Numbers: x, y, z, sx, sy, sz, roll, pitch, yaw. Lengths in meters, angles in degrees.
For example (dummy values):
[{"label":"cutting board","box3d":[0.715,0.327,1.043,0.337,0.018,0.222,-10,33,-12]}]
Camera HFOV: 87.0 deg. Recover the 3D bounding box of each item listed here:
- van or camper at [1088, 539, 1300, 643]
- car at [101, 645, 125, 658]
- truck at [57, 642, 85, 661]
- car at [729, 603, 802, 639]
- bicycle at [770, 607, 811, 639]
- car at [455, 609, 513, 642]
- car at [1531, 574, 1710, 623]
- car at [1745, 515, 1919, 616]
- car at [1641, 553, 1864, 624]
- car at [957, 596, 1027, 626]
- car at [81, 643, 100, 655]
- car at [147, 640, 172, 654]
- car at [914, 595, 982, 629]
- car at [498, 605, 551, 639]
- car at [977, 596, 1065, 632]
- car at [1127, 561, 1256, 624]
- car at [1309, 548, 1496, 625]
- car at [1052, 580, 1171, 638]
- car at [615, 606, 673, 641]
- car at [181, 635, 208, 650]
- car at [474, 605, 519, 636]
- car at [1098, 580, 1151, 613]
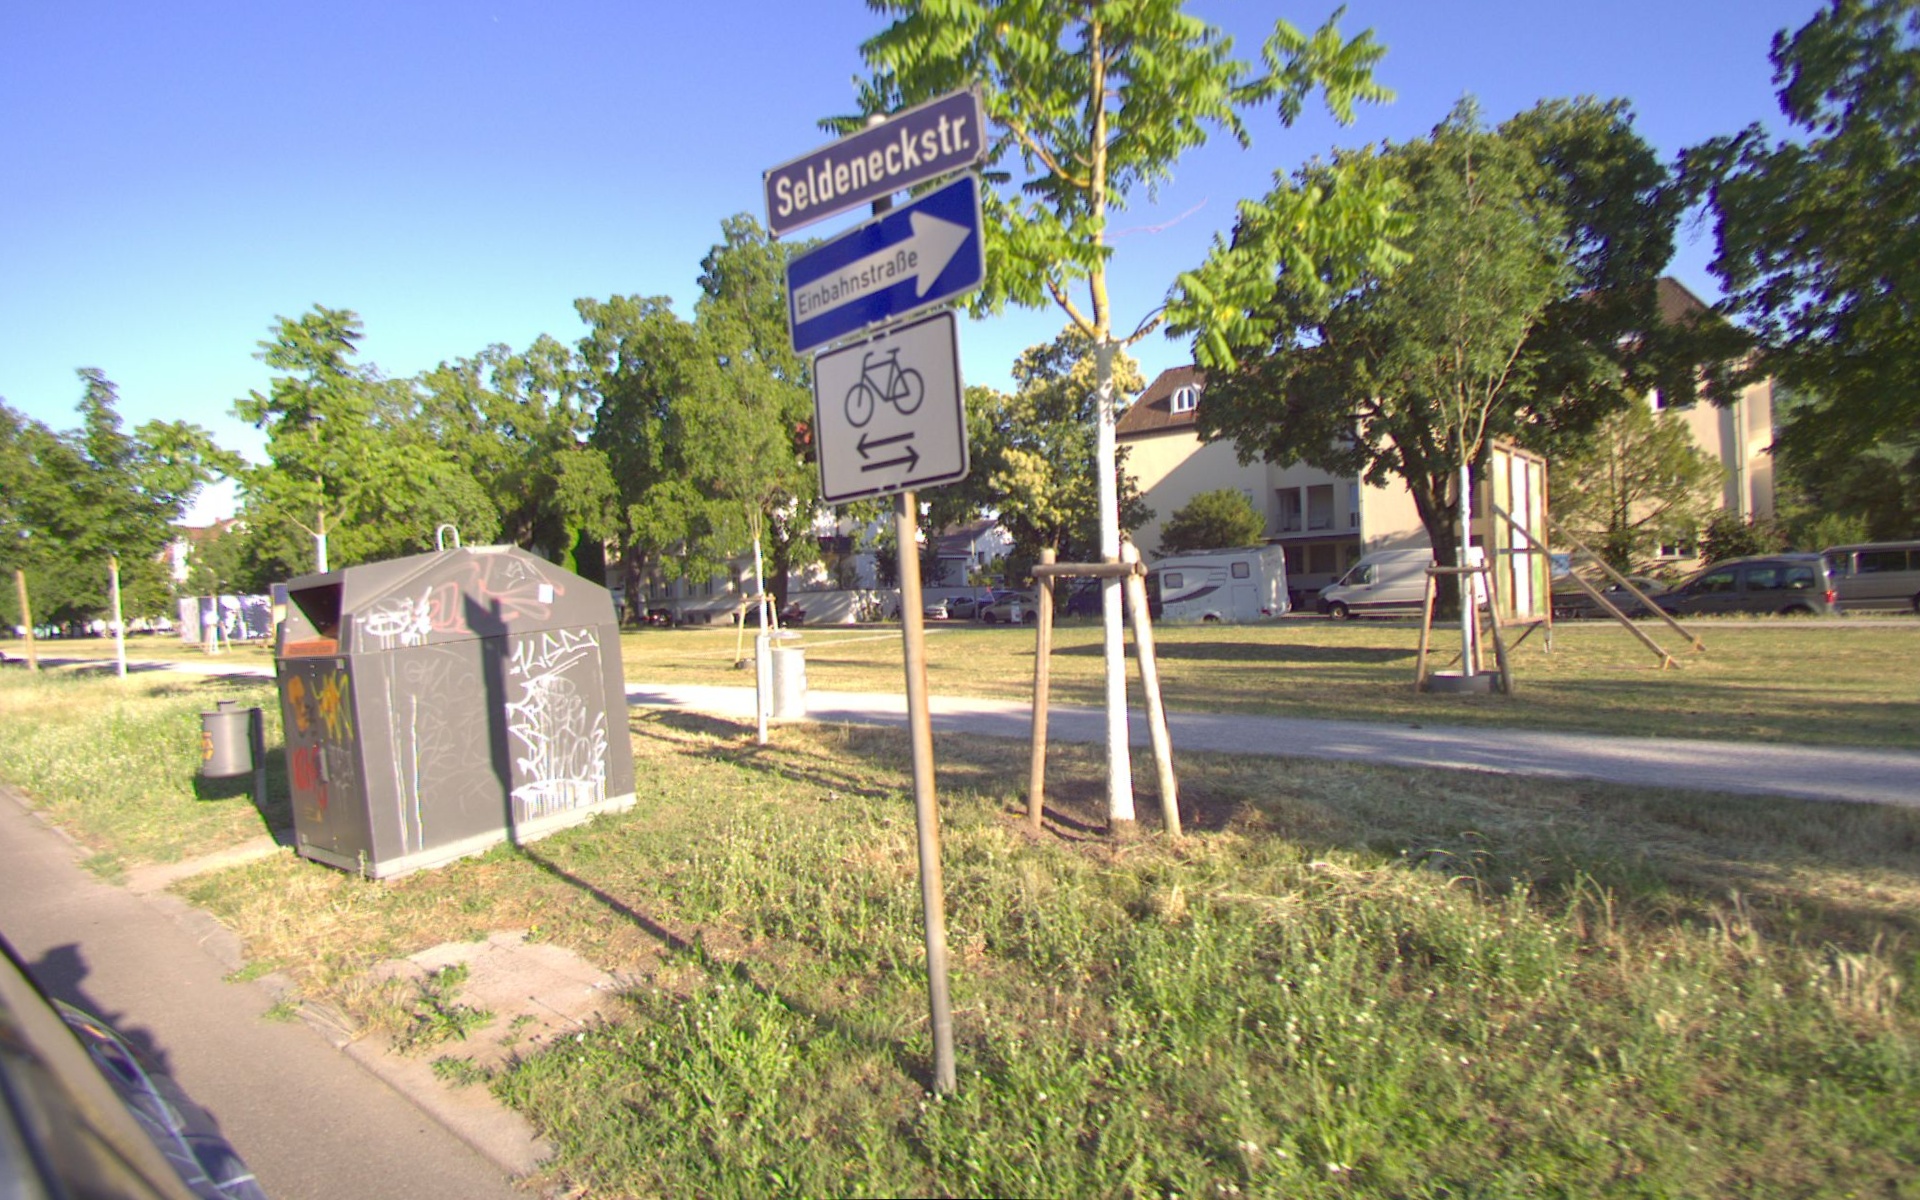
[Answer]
[{"label":"van or camper","box3d":[8.269,-0.234,36.318,6.902,3.287,2.614,-3,-1,42]},{"label":"car","box3d":[-135.099,8.171,161.406,3.996,2.029,2.099,-2,-3,40]},{"label":"truck","box3d":[-162.378,9.476,184.821,7.704,3.170,2.750,-3,-1,40]},{"label":"car","box3d":[-11.935,1.298,61.836,4.712,1.927,1.870,-3,-1,42]},{"label":"bicycle","box3d":[-7.794,1.061,46.417,2.331,1.352,0.505,-3,-1,44]},{"label":"car","box3d":[-34.761,1.844,73.854,4.565,2.191,1.974,-4,-1,39]},{"label":"car","box3d":[21.418,0.009,32.938,4.564,1.413,1.971,-2,-3,45]},{"label":"car","box3d":[25.801,-0.924,28.860,5.320,2.624,2.114,-2,-3,39]},{"label":"car","box3d":[19.985,-0.261,25.687,4.306,1.576,1.400,-3,0,40]},{"label":"car","box3d":[2.239,0.714,68.782,2.070,1.782,5.001,-3,0,40]},{"label":"car","box3d":[-150.226,8.481,174.817,4.000,2.029,1.972,-4,-1,43]},{"label":"car","box3d":[-111.646,6.552,141.174,3.998,1.715,1.973,-4,-1,41]},{"label":"car","box3d":[-0.740,0.757,64.557,1.977,1.914,4.472,-3,0,36]},{"label":"car","box3d":[-35.370,1.784,82.162,5.042,2.660,1.925,-2,-3,41]},{"label":"car","box3d":[2.946,0.704,49.041,3.805,1.554,1.974,-3,0,39]},{"label":"car","box3d":[8.269,-0.234,36.318,3.999,2.029,1.973,-3,-1,42]},{"label":"car","box3d":[16.368,-0.407,37.732,6.087,2.617,1.973,-2,-3,41]},{"label":"car","box3d":[6.765,0.472,45.517,5.115,2.437,1.916,-2,-3,42]},{"label":"car","box3d":[-21.777,1.622,69.730,3.999,2.170,1.973,-3,-1,42]},{"label":"car","box3d":[-96.525,5.408,127.601,3.999,1.858,1.972,-2,-3,42]},{"label":"car","box3d":[-39.087,1.703,85.279,3.998,2.560,1.973,-1,1,41]},{"label":"car","box3d":[11.526,-0.240,70.746,1.868,2.140,3.949,-3,0,39]}]
